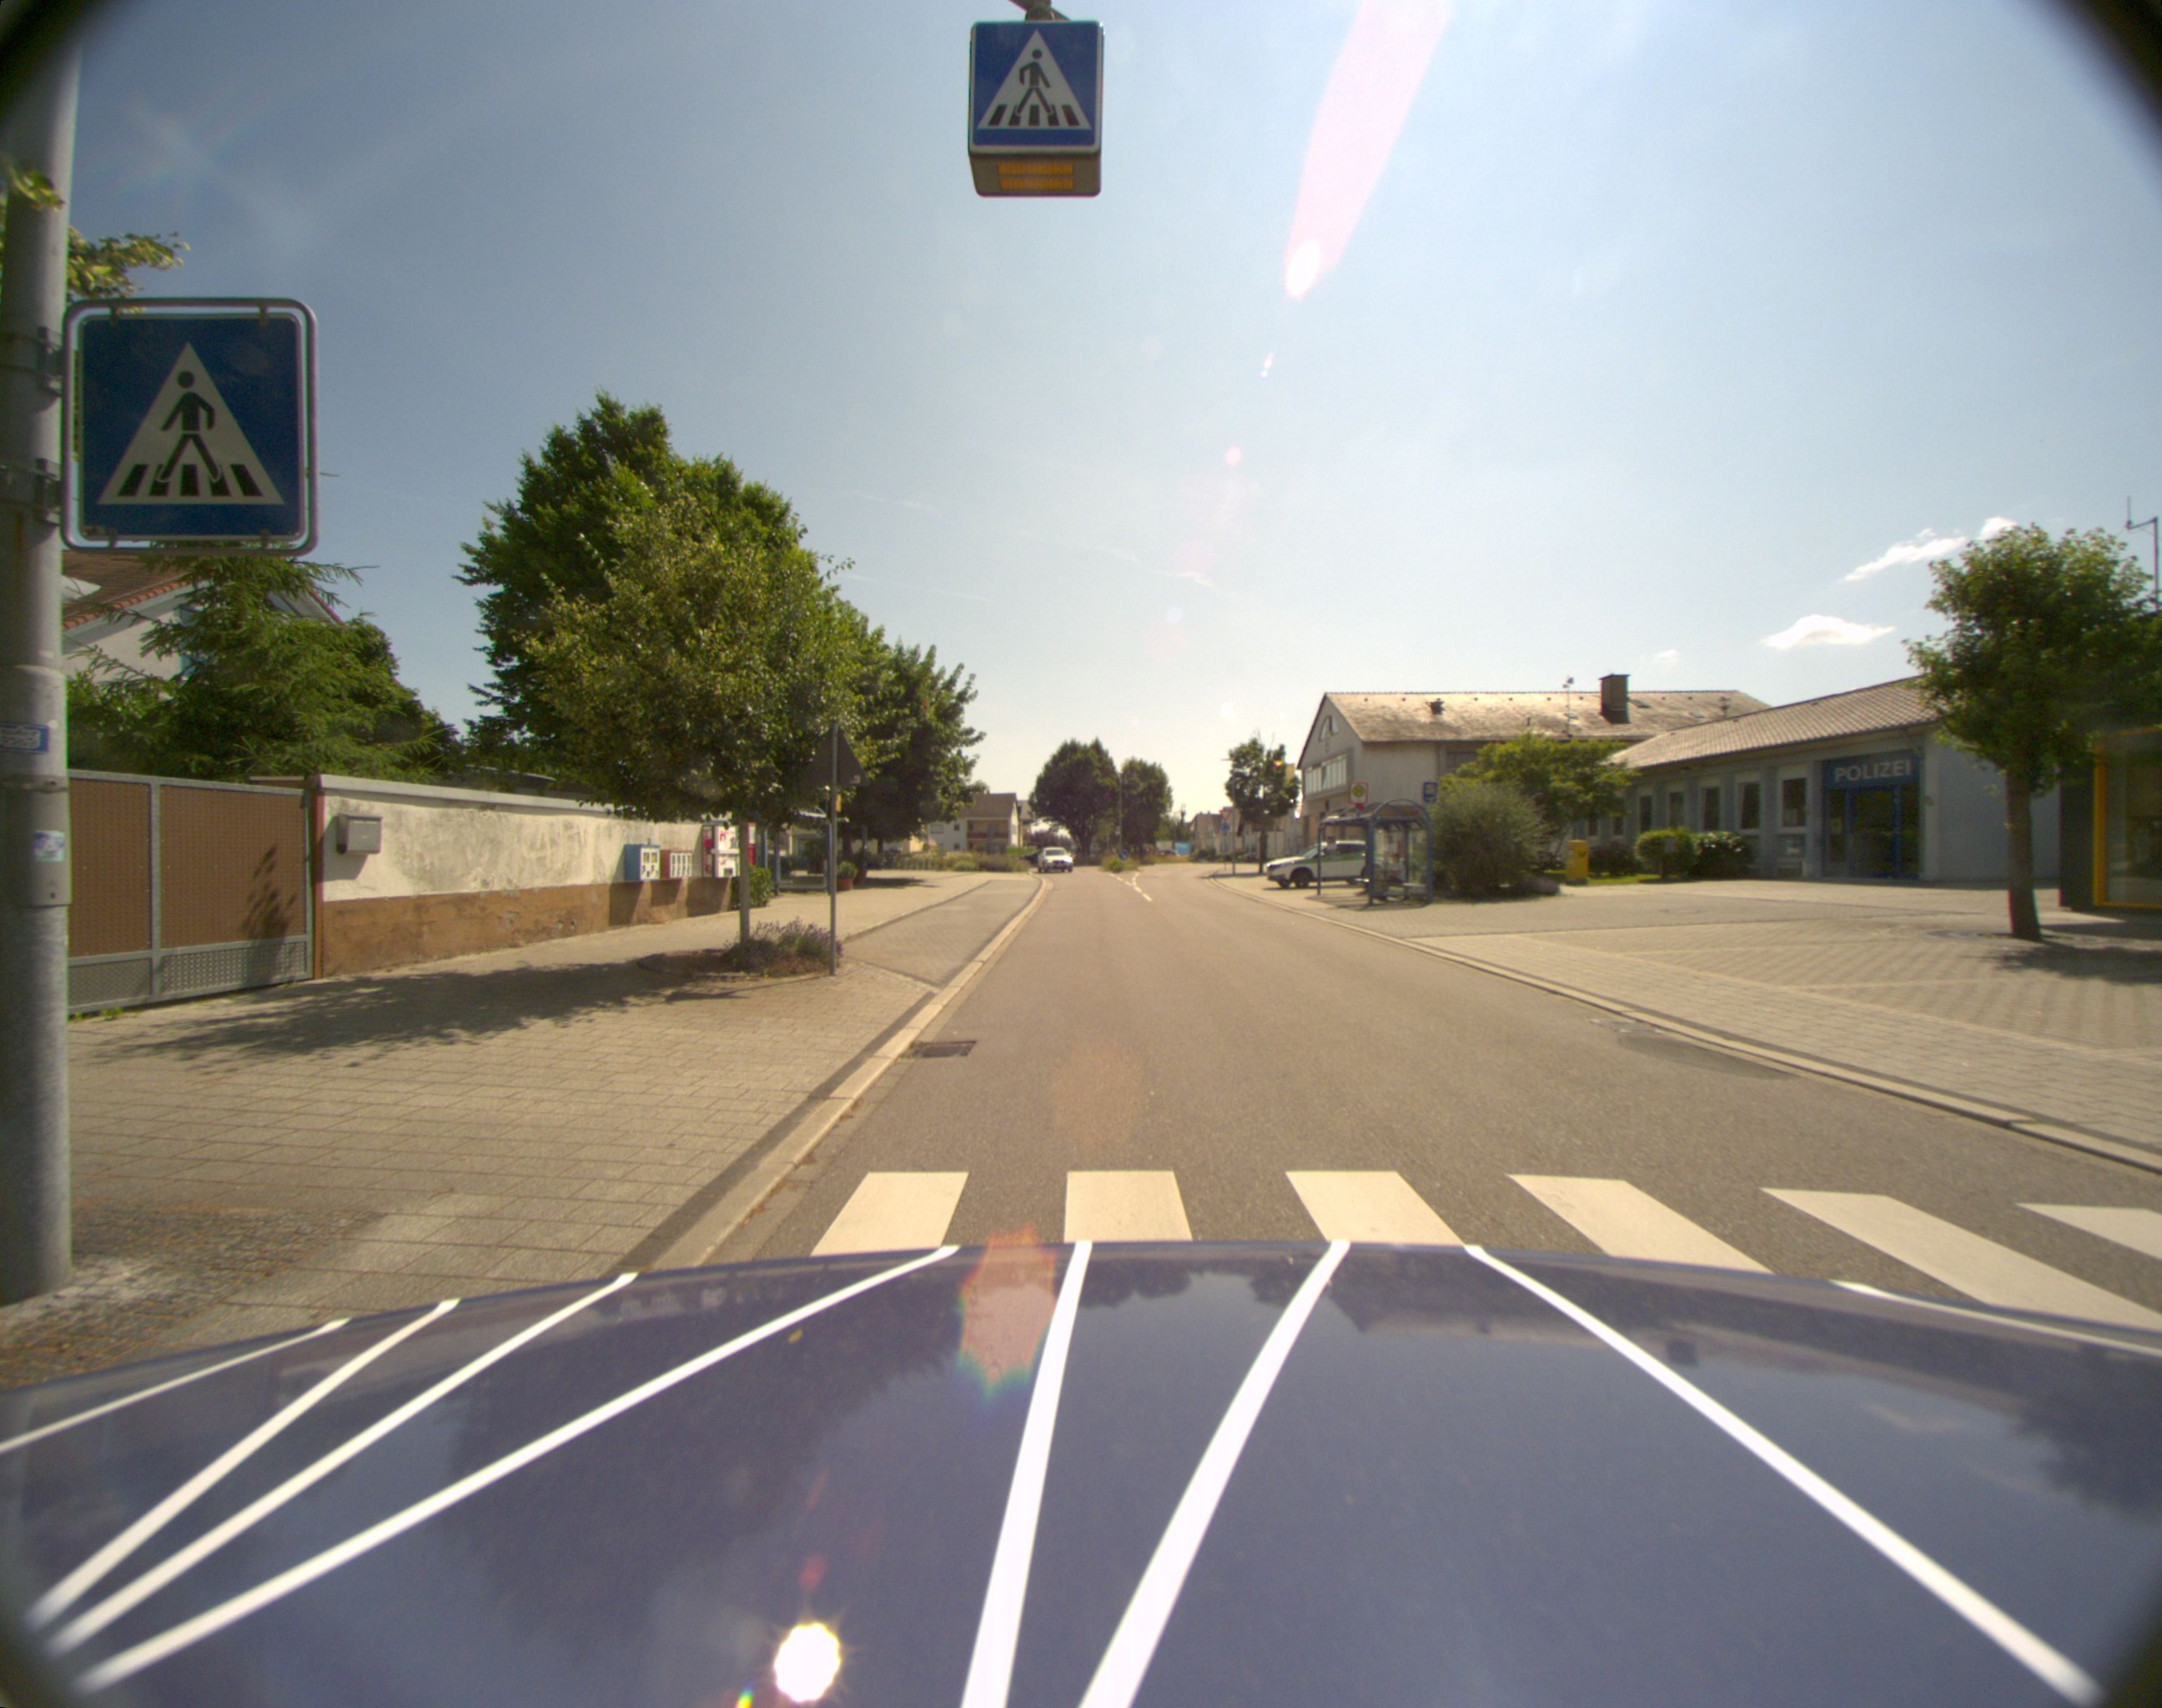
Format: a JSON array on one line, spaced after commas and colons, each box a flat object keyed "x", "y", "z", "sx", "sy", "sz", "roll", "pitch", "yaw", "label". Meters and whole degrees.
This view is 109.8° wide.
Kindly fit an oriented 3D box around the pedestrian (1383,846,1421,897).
[{"x": 8.587, "y": 0.456, "z": 20.346, "sx": 0.787, "sy": 1.350, "sz": 0.607, "roll": 0, "pitch": 1, "yaw": 1, "label": "pedestrian"}]

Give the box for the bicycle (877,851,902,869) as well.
[{"x": -12.558, "y": 0.365, "z": 49.848, "sx": 0.838, "sy": 1.105, "sz": 2.631, "roll": 0, "pitch": 1, "yaw": 4, "label": "bicycle"}]

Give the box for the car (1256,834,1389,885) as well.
[{"x": 8.876, "y": 0.177, "z": 28.122, "sx": 4.251, "sy": 1.709, "sz": 1.944, "roll": -2, "pitch": 1, "yaw": -5, "label": "car"}]

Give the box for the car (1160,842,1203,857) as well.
[{"x": 10.401, "y": -0.458, "z": 78.516, "sx": 3.991, "sy": 1.484, "sz": 2.002, "roll": -1, "pitch": 1, "yaw": 21, "label": "car"}]

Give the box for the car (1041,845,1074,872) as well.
[{"x": -1.566, "y": 0.242, "z": 49.400, "sx": 1.858, "sy": 1.604, "sz": 4.132, "roll": -2, "pitch": 1, "yaw": -5, "label": "car"}]
